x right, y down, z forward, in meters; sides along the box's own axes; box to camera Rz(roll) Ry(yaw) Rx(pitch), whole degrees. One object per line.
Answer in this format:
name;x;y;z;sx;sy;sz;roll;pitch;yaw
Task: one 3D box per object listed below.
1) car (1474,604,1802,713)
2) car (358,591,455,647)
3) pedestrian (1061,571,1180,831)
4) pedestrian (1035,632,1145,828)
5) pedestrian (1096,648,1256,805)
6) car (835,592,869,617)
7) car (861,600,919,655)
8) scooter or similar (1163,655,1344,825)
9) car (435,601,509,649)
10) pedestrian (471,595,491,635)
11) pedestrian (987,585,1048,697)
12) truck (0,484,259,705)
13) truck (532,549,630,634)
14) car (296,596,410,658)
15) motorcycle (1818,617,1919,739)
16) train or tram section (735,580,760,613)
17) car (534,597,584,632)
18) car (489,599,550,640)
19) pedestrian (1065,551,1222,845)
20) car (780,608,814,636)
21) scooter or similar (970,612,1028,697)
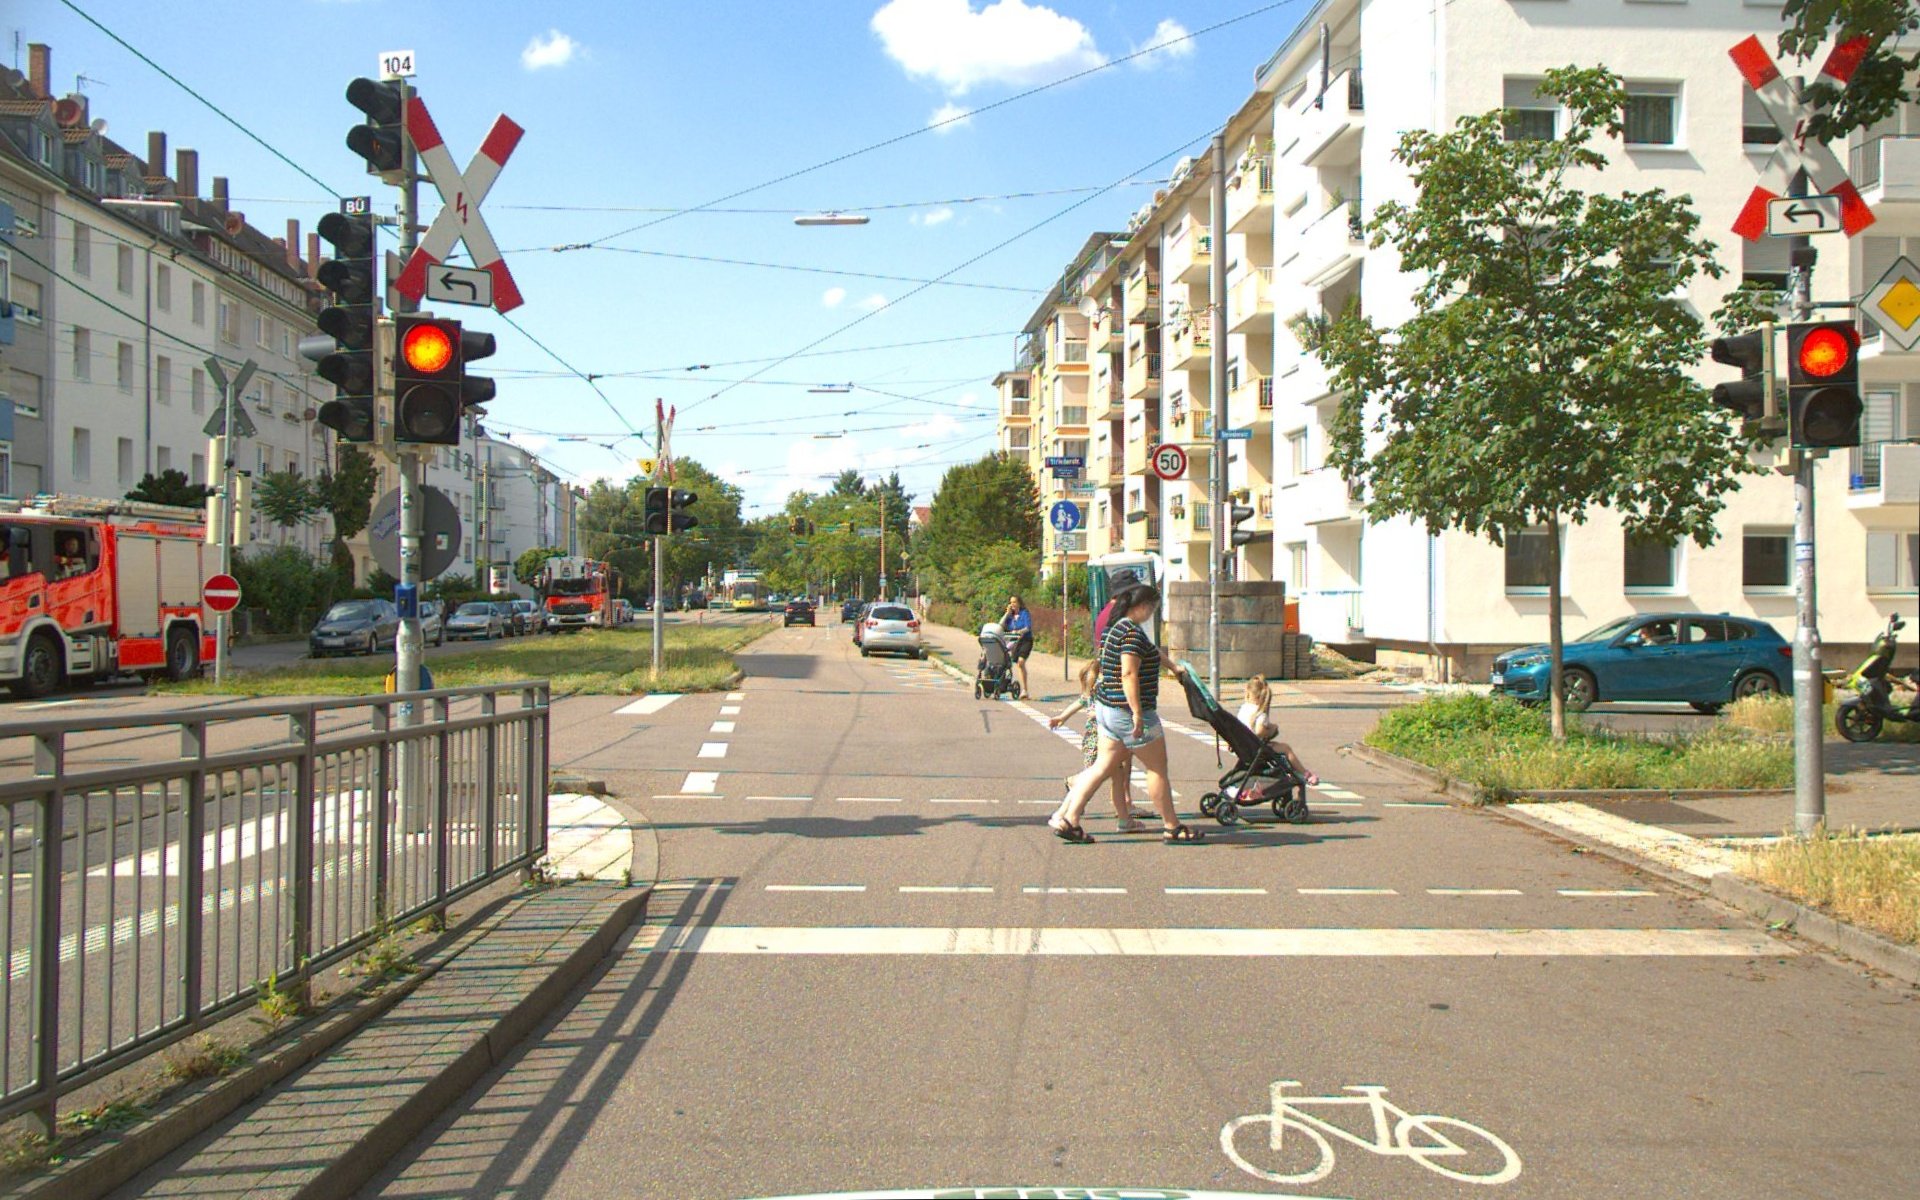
car;9.896;0.834;24.337;4.081;1.438;1.780;2;-1;-1
car;-18.104;0.610;54.267;1.954;1.741;3.998;2;0;-3
pedestrian;1.071;0.660;11.140;0.691;1.677;0.637;2;-1;0
pedestrian;0.826;0.814;10.678;0.624;1.201;0.798;0;-1;-2
pedestrian;3.170;1.811;25.022;1.952;2.049;4.001;1;-1;1
car;-6.858;0.281;105.632;1.707;1.533;4.001;1;0;2
car;-2.053;0.784;48.222;1.590;1.490;3.508;2;0;-3
scooter or similar;1.963;0.926;11.138;1.078;1.074;0.650;1;-1;-1
car;-18.892;0.952;64.166;1.955;1.741;3.995;2;0;-5
pedestrian;-21.927;0.683;75.716;0.691;1.825;0.864;0;0;-4
pedestrian;0.971;0.667;27.646;0.687;1.820;1.030;1;1;23
truck;-15.221;-0.071;28.328;2.542;3.241;8.384;1;0;2
truck;-17.061;-0.332;75.064;2.614;3.531;10.160;1;0;-4
car;-17.603;0.761;48.176;1.954;1.674;3.998;2;0;-3
motorcycle;10.220;0.819;17.611;0.565;1.236;1.826;-5;1;-32
train or tram section;-20.632;-0.326;160.775;2.215;3.122;8.122;0;0;-6
car;-20.560;0.739;84.884;1.873;1.741;3.996;2;0;-5
car;-19.943;0.878;75.012;1.954;1.741;3.996;2;0;-5
pedestrian;1.087;0.569;9.988;0.828;1.697;0.798;0;-1;-2
car;-9.151;1.220;92.942;1.709;1.533;3.997;2;0;-4
scooter or similar;0.632;0.877;26.860;0.649;1.326;0.868;1;0;23
